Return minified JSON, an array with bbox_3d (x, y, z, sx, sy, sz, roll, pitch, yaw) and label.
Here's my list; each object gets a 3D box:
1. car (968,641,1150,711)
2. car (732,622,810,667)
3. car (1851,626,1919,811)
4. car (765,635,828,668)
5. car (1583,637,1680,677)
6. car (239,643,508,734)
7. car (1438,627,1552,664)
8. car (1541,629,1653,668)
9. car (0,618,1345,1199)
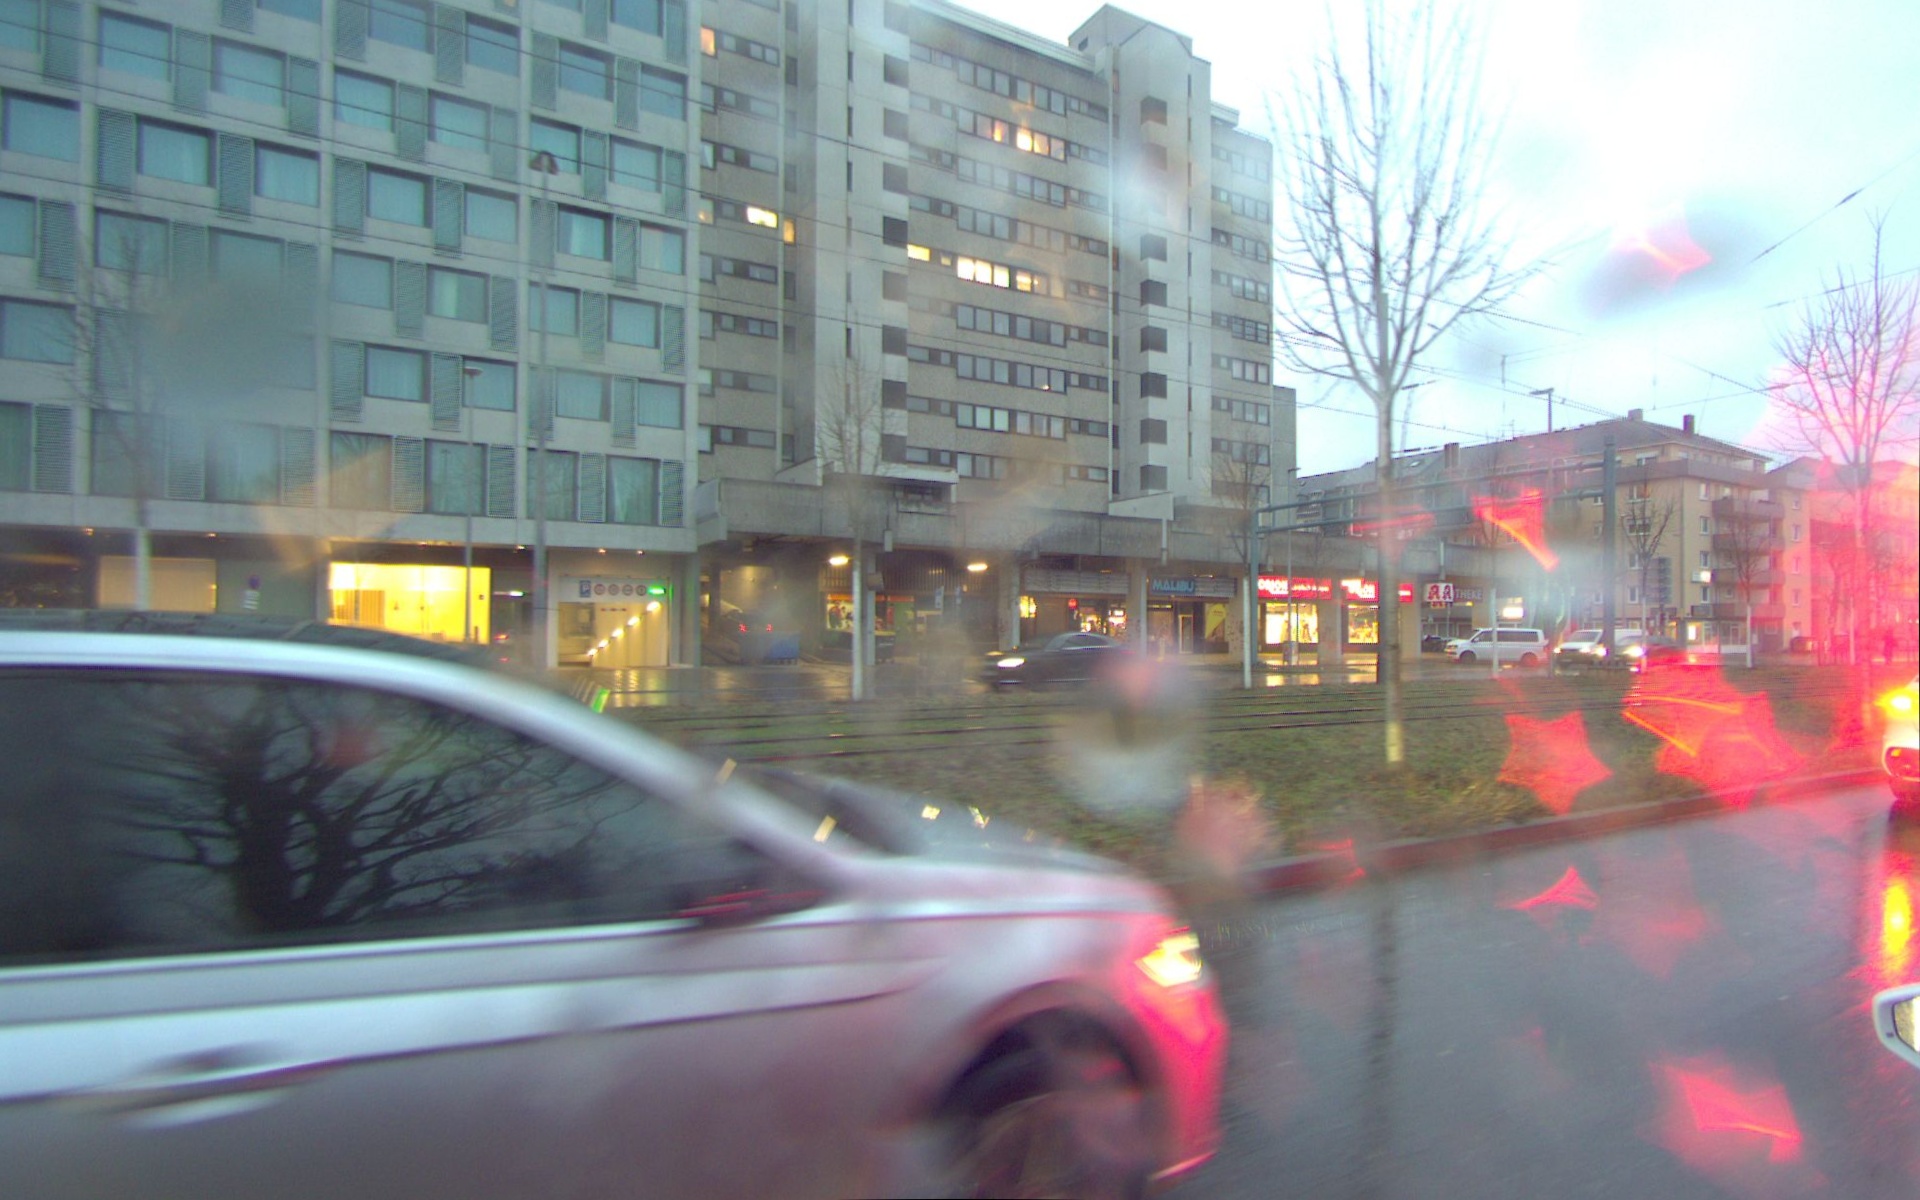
[{"bbox_3d":[2.771,2.018,27.714,4.858,1.741,1.887,1,-2,-30],"label":"car"},{"bbox_3d":[-7.786,1.786,41.073,1.709,1.718,4.336,1,-2,-32],"label":"car"},{"bbox_3d":[9.646,0.983,8.558,4.562,1.424,1.836,2,-1,-32],"label":"car"},{"bbox_3d":[-7.284,2.245,44.604,1.580,1.377,3.411,1,-2,-32],"label":"car"},{"bbox_3d":[30.110,2.515,45.012,4.527,1.655,1.887,1,-2,-31],"label":"car"},{"bbox_3d":[-12.572,1.825,21.863,4.858,1.741,1.887,1,-2,-30],"label":"car"},{"bbox_3d":[28.522,2.427,53.748,5.059,1.937,2.001,0,-2,15],"label":"car"},{"bbox_3d":[32.239,2.436,50.883,5.081,1.937,1.993,1,-2,-18],"label":"car"},{"bbox_3d":[-1.230,0.760,2.107,3.935,1.389,1.754,2,-1,-31],"label":"car"}]
